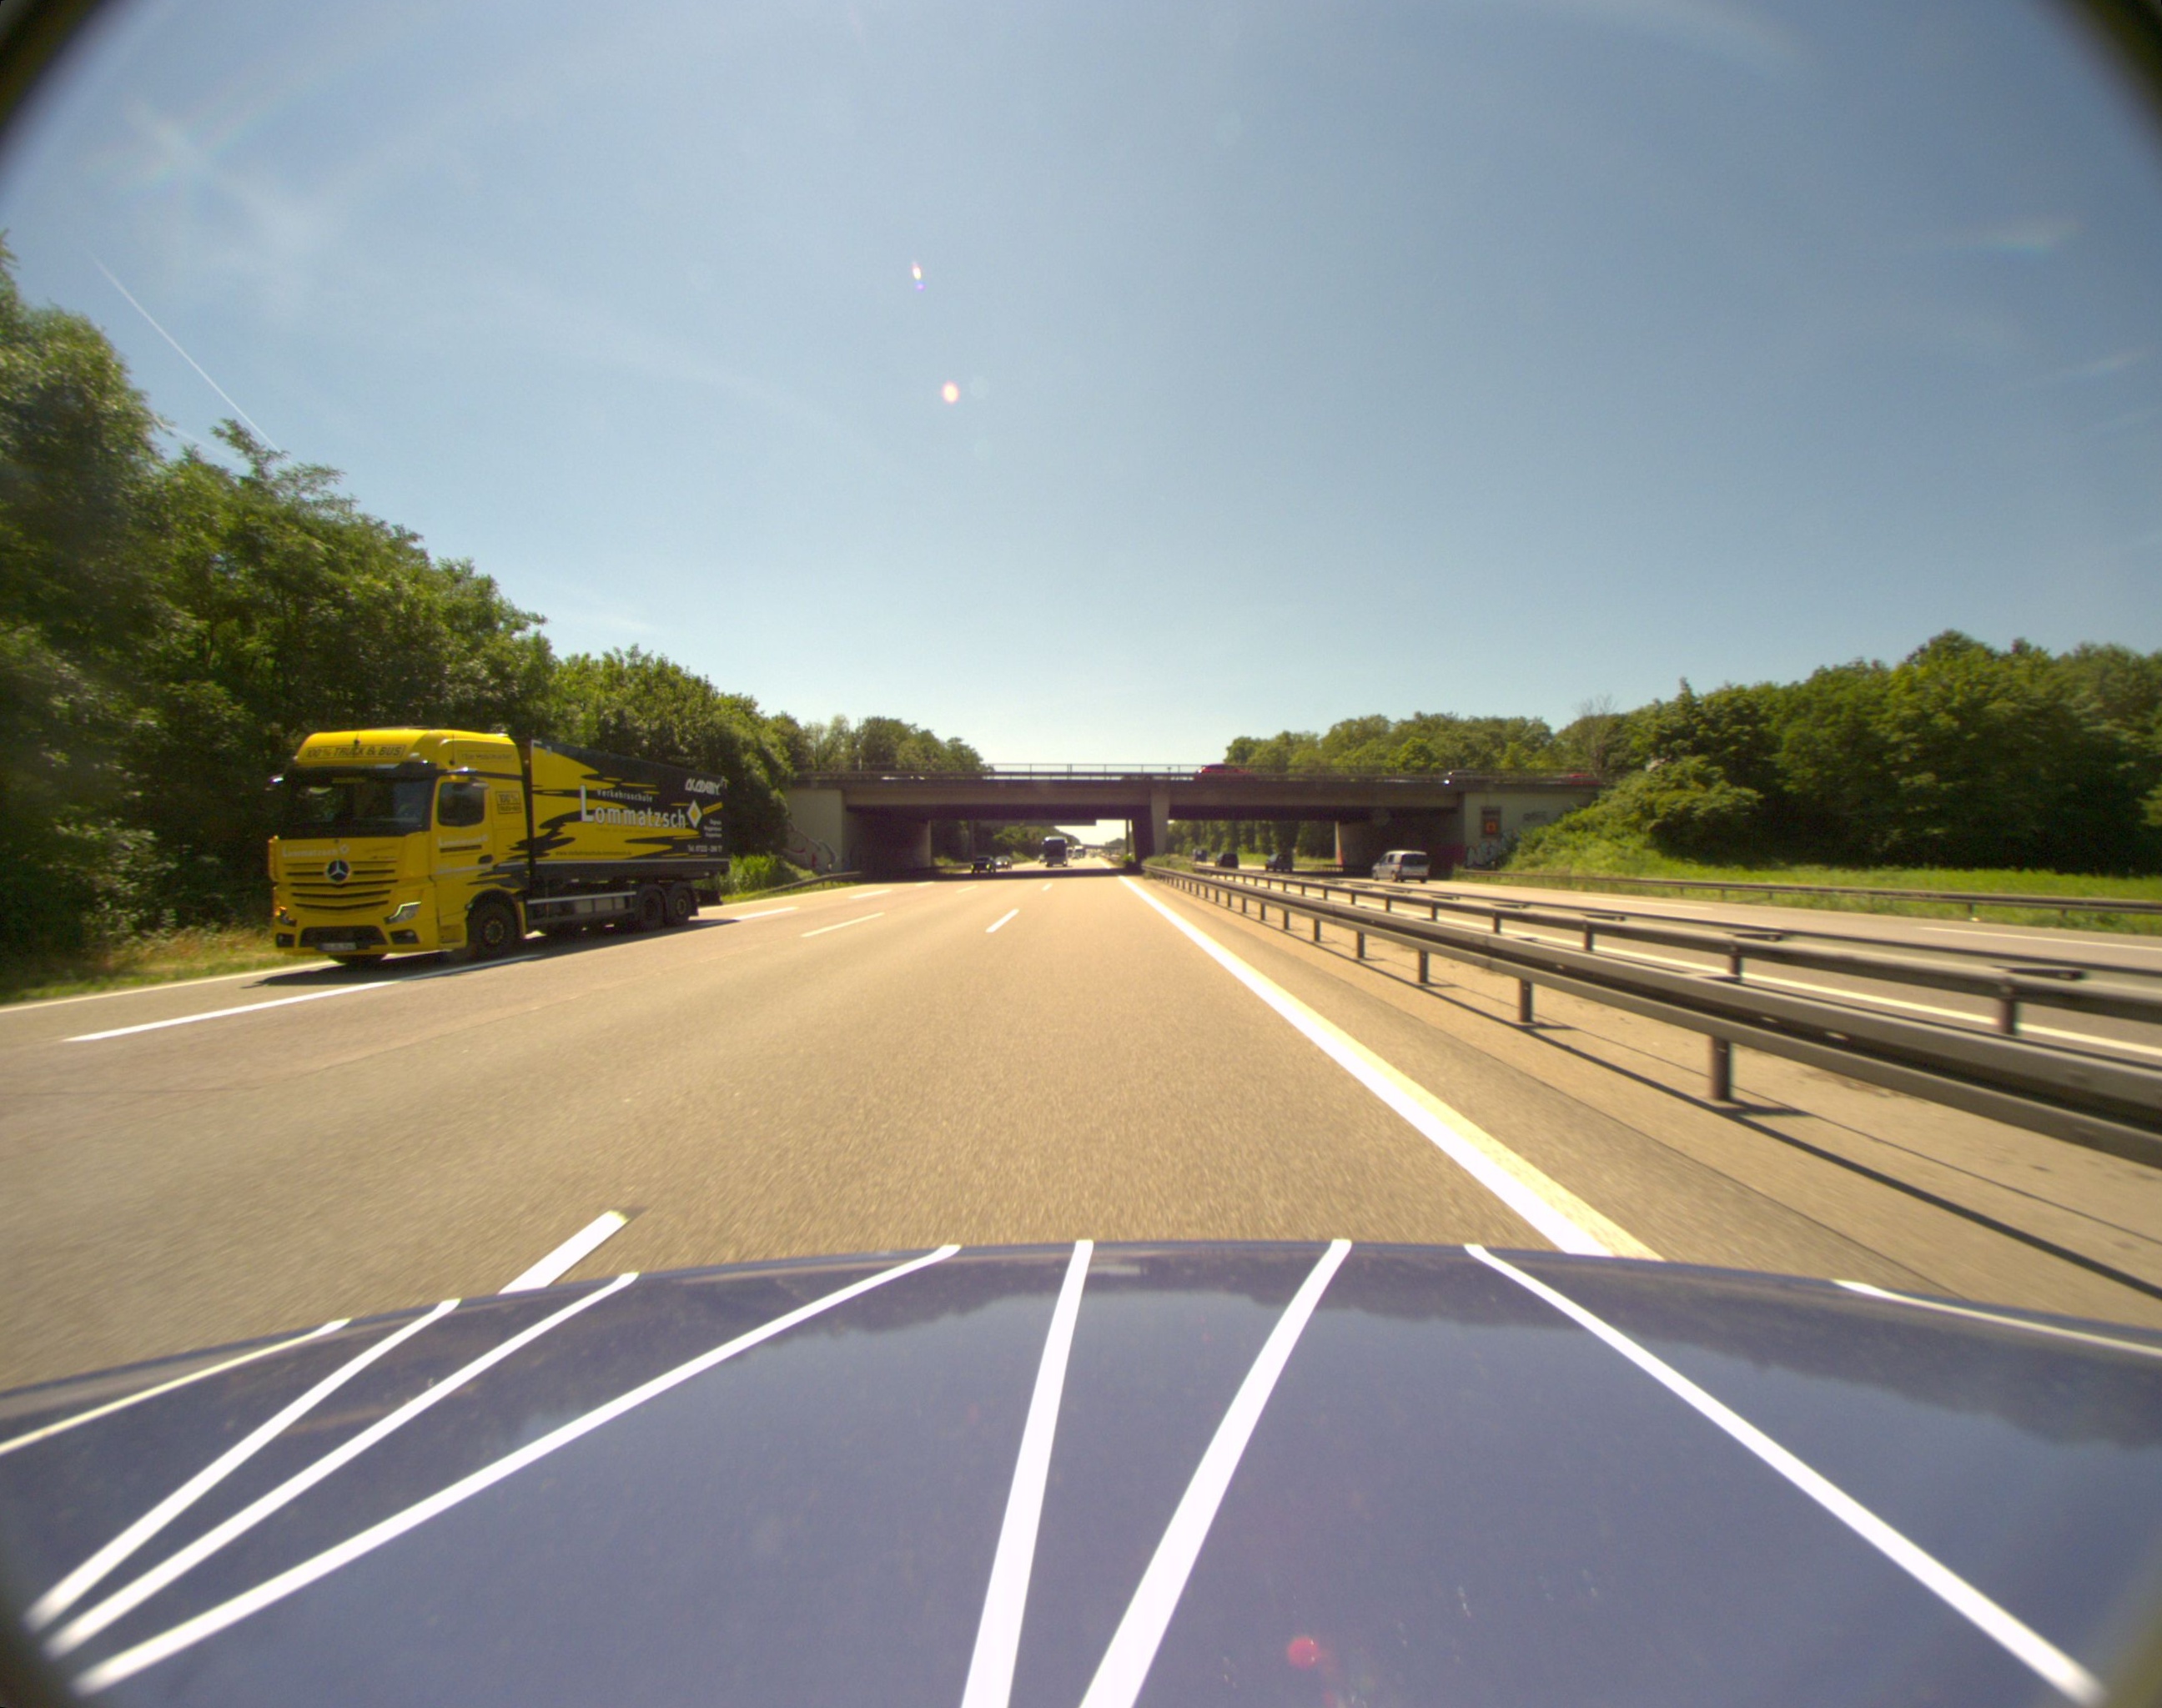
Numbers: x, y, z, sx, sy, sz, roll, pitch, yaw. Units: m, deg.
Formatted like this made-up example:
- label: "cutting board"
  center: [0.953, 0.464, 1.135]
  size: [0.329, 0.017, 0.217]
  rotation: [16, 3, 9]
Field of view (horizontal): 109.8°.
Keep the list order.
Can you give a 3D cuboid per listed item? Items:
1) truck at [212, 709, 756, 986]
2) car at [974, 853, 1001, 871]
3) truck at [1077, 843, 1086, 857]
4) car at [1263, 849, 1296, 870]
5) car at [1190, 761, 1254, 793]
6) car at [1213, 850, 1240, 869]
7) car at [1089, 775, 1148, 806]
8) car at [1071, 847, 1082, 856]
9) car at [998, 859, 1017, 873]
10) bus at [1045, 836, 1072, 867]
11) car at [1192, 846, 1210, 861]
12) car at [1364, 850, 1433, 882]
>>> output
- label: "truck"
  center: [-11.268, -0.138, 16.856]
  size: [2.982, 4.013, 10.981]
  rotation: [-3, 1, 1]
- label: "car"
  center: [-8.821, 0.725, 72.019]
  size: [1.875, 1.547, 4.201]
  rotation: [-2, 1, 1]
- label: "truck"
  center: [0.179, -1.305, 258.461]
  size: [2.616, 4.638, 10.960]
  rotation: [-2, 1, 1]
- label: "car"
  center: [18.048, 0.437, 69.121]
  size: [1.744, 1.795, 4.934]
  rotation: [1, 1, 1]
- label: "car"
  center: [10.117, -5.532, 54.755]
  size: [4.156, 2.002, 1.999]
  rotation: [-2, 1, -2]
- label: "car"
  center: [13.829, 0.497, 72.462]
  size: [1.744, 1.709, 4.639]
  rotation: [1, 1, 1]
- label: "car"
  center: [2.649, -4.540, 54.679]
  size: [3.998, 2.002, 1.999]
  rotation: [-2, 1, -2]
- label: "car"
  center: [-1.242, -0.658, 196.974]
  size: [2.616, 2.389, 7.122]
  rotation: [-2, 1, 1]
- label: "car"
  center: [-8.277, 1.368, 85.941]
  size: [1.674, 1.439, 4.573]
  rotation: [-2, 1, 1]
- label: "bus"
  center: [-2.686, -0.390, 94.798]
  size: [2.617, 3.532, 13.681]
  rotation: [-2, 1, 1]
- label: "car"
  center: [20.057, -0.047, 127.047]
  size: [2.094, 2.385, 5.733]
  rotation: [-2, 1, 0]
- label: "car"
  center: [18.257, 0.638, 43.958]
  size: [1.744, 1.753, 5.085]
  rotation: [1, 1, -1]
